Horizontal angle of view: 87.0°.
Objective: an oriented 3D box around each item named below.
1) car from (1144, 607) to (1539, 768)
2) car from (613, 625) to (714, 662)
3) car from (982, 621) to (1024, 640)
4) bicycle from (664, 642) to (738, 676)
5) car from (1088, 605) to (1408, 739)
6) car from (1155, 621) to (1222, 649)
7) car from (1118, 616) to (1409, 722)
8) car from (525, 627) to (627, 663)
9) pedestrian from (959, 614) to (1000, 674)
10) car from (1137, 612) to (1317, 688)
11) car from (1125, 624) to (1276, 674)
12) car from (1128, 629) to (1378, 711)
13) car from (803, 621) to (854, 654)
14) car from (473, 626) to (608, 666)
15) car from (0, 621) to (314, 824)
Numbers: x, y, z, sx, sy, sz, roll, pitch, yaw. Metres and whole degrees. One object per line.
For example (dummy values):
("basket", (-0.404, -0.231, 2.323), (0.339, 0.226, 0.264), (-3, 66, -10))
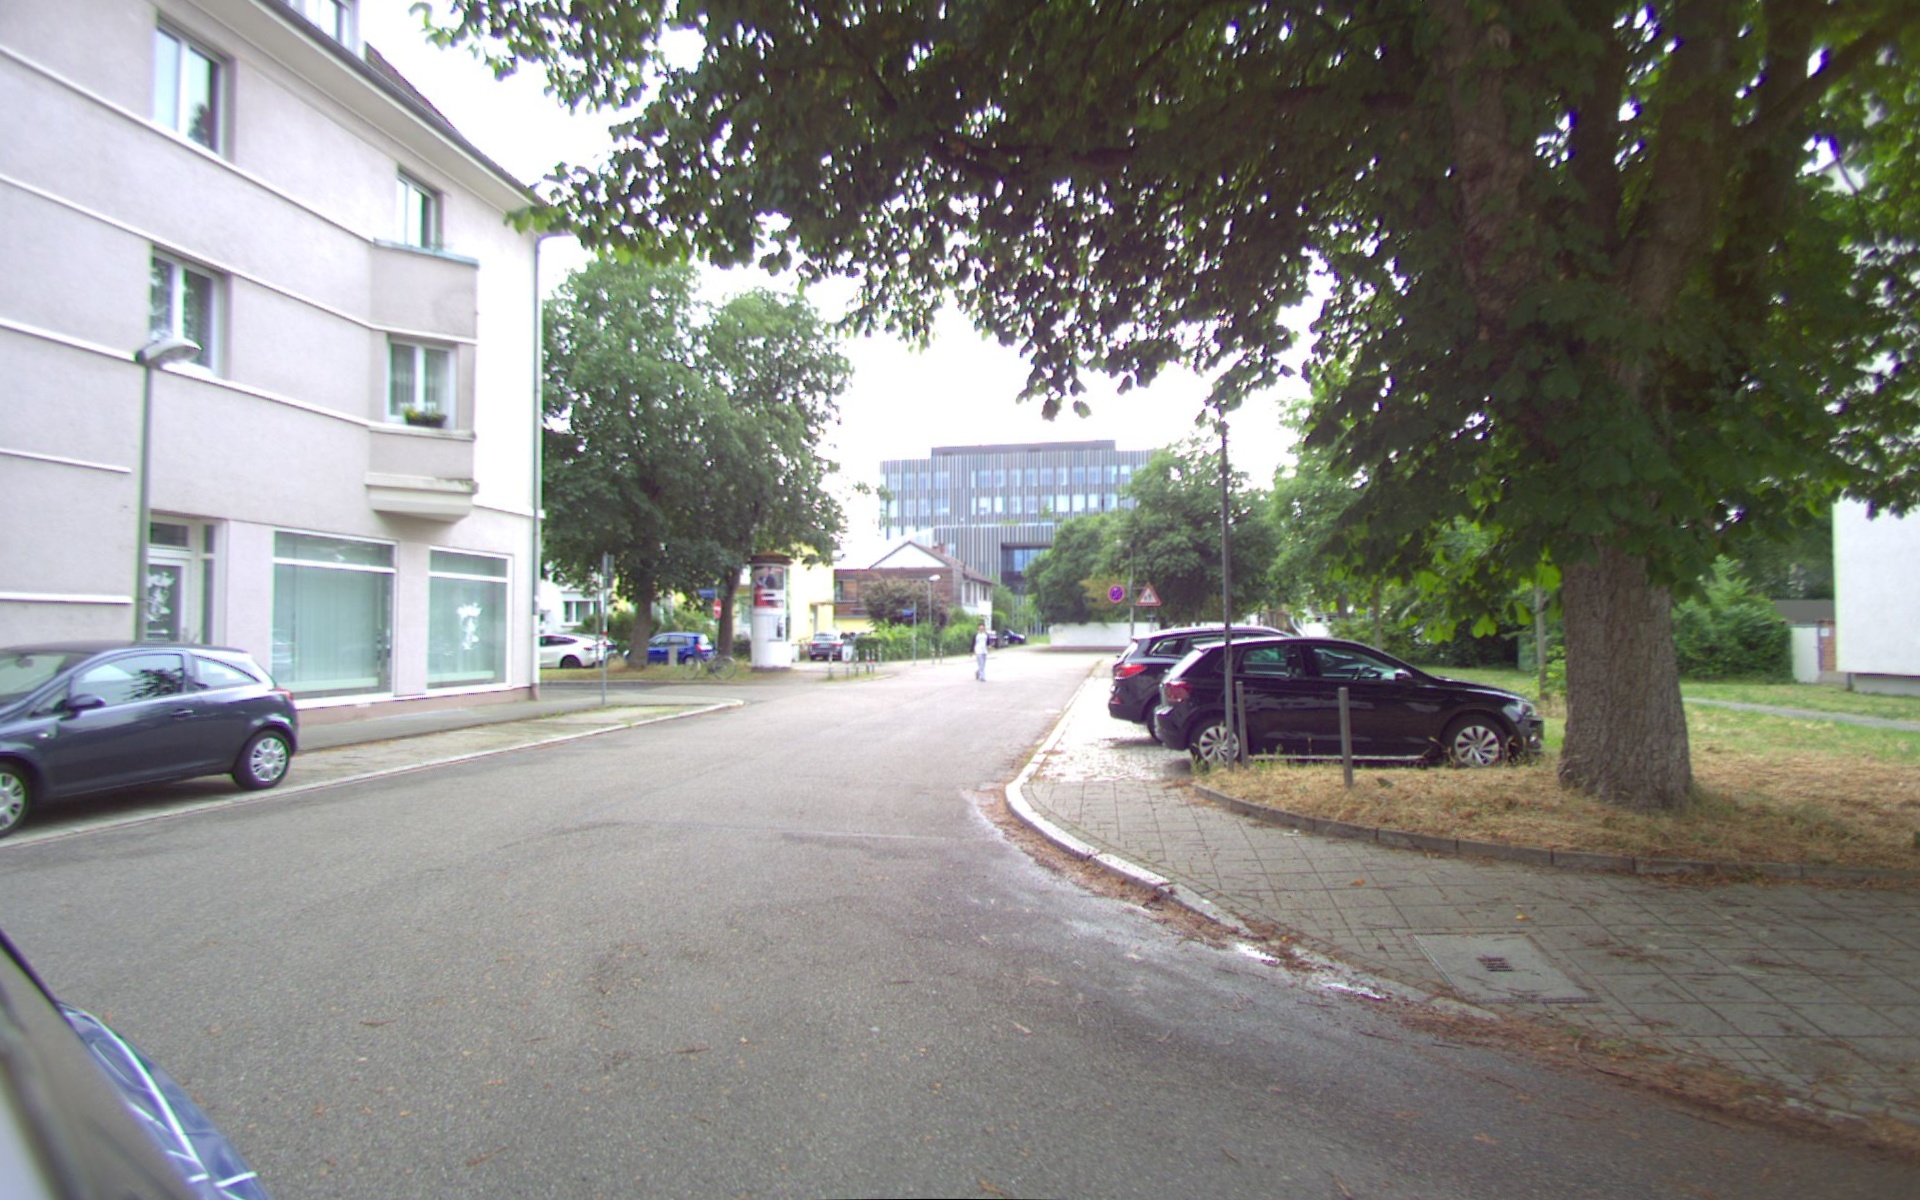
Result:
("car", (4.023, 0.918, 11.301), (3.803, 1.589, 1.823), (-1, -2, 13))
("car", (-13.584, 1.987, 46.500), (4.162, 1.578, 1.700), (-1, -1, 9))
("car", (4.344, 3.046, 101.095), (3.957, 1.851, 1.993), (-1, 1, 11))
("bicycle", (-8.051, 1.826, 31.483), (2.153, 0.993, 0.512), (-1, 0, 3))
("car", (3.956, 1.011, 14.363), (4.029, 1.710, 1.908), (-2, -2, 14))
("car", (16.398, 2.499, 72.736), (4.439, 1.873, 1.996), (-1, 1, 6))
("car", (4.886, 1.129, 16.750), (4.314, 1.578, 1.833), (-2, -2, 14))
("car", (-17.915, 2.081, 47.258), (4.114, 1.511, 1.717), (-1, 1, 5))
("pedestrian", (0.609, 1.382, 31.846), (0.863, 1.850, 1.223), (1, -2, -24))
("car", (6.576, 1.232, 25.347), (4.103, 1.572, 1.879), (-4, -1, 10))
("car", (7.699, 1.572, 32.723), (4.503, 1.465, 1.677), (-2, -2, 6))
("car", (5.681, 1.368, 20.057), (4.515, 1.475, 1.833), (-2, -2, 14))
("car", (-6.697, 1.929, 51.884), (1.820, 1.623, 3.993), (0, -2, 5))
("car", (-17.170, 1.867, 41.561), (4.822, 1.578, 1.900), (-1, -2, 5))
("car", (-7.811, 0.941, 8.596), (1.743, 1.501, 3.924), (-1, -1, 10))
